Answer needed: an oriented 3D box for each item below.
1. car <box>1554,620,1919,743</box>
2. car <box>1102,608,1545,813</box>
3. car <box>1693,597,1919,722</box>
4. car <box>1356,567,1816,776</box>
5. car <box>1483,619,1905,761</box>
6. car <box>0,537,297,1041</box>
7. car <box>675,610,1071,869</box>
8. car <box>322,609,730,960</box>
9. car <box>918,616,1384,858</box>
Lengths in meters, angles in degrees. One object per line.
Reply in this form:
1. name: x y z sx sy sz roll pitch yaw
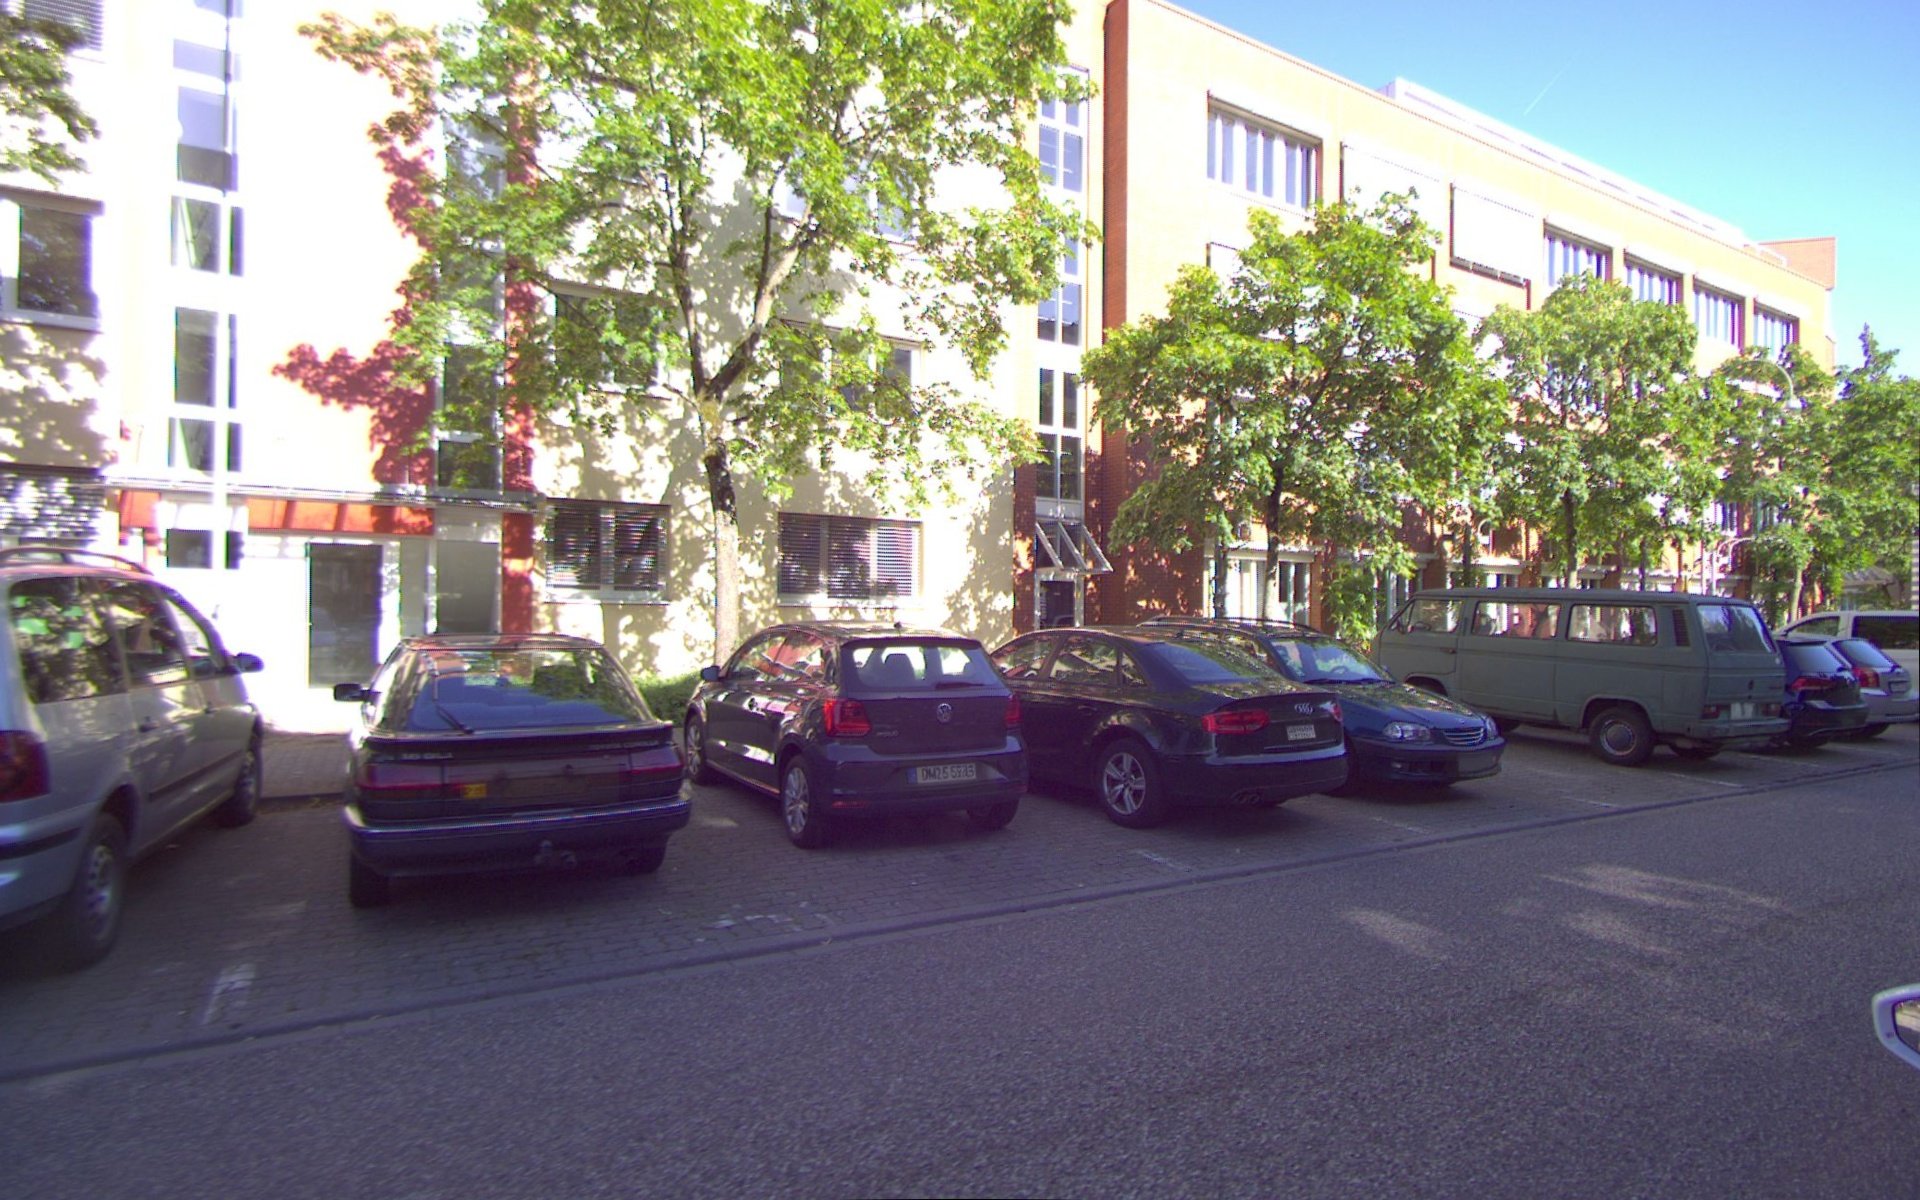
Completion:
1. car: 11.951 1.133 15.611 1.918 1.497 4.304 1 0 -27
2. car: 3.398 0.913 10.227 1.704 1.548 4.113 1 0 -29
3. car: 16.181 0.995 17.447 1.920 1.993 5.233 1 0 -30
4. car: 7.512 0.712 12.610 2.056 2.118 4.470 1 0 -27
5. car: 9.837 1.091 13.874 1.918 1.497 4.304 1 0 -27
6. car: -4.919 0.610 5.076 1.936 1.740 4.308 1 0 -25
7. car: -0.921 0.857 7.986 1.705 1.446 3.707 1 0 -30
8. car: -3.007 0.810 6.530 1.737 1.376 4.299 1 0 -30
9. car: 1.375 0.922 8.468 1.708 1.446 3.701 1 0 -35
